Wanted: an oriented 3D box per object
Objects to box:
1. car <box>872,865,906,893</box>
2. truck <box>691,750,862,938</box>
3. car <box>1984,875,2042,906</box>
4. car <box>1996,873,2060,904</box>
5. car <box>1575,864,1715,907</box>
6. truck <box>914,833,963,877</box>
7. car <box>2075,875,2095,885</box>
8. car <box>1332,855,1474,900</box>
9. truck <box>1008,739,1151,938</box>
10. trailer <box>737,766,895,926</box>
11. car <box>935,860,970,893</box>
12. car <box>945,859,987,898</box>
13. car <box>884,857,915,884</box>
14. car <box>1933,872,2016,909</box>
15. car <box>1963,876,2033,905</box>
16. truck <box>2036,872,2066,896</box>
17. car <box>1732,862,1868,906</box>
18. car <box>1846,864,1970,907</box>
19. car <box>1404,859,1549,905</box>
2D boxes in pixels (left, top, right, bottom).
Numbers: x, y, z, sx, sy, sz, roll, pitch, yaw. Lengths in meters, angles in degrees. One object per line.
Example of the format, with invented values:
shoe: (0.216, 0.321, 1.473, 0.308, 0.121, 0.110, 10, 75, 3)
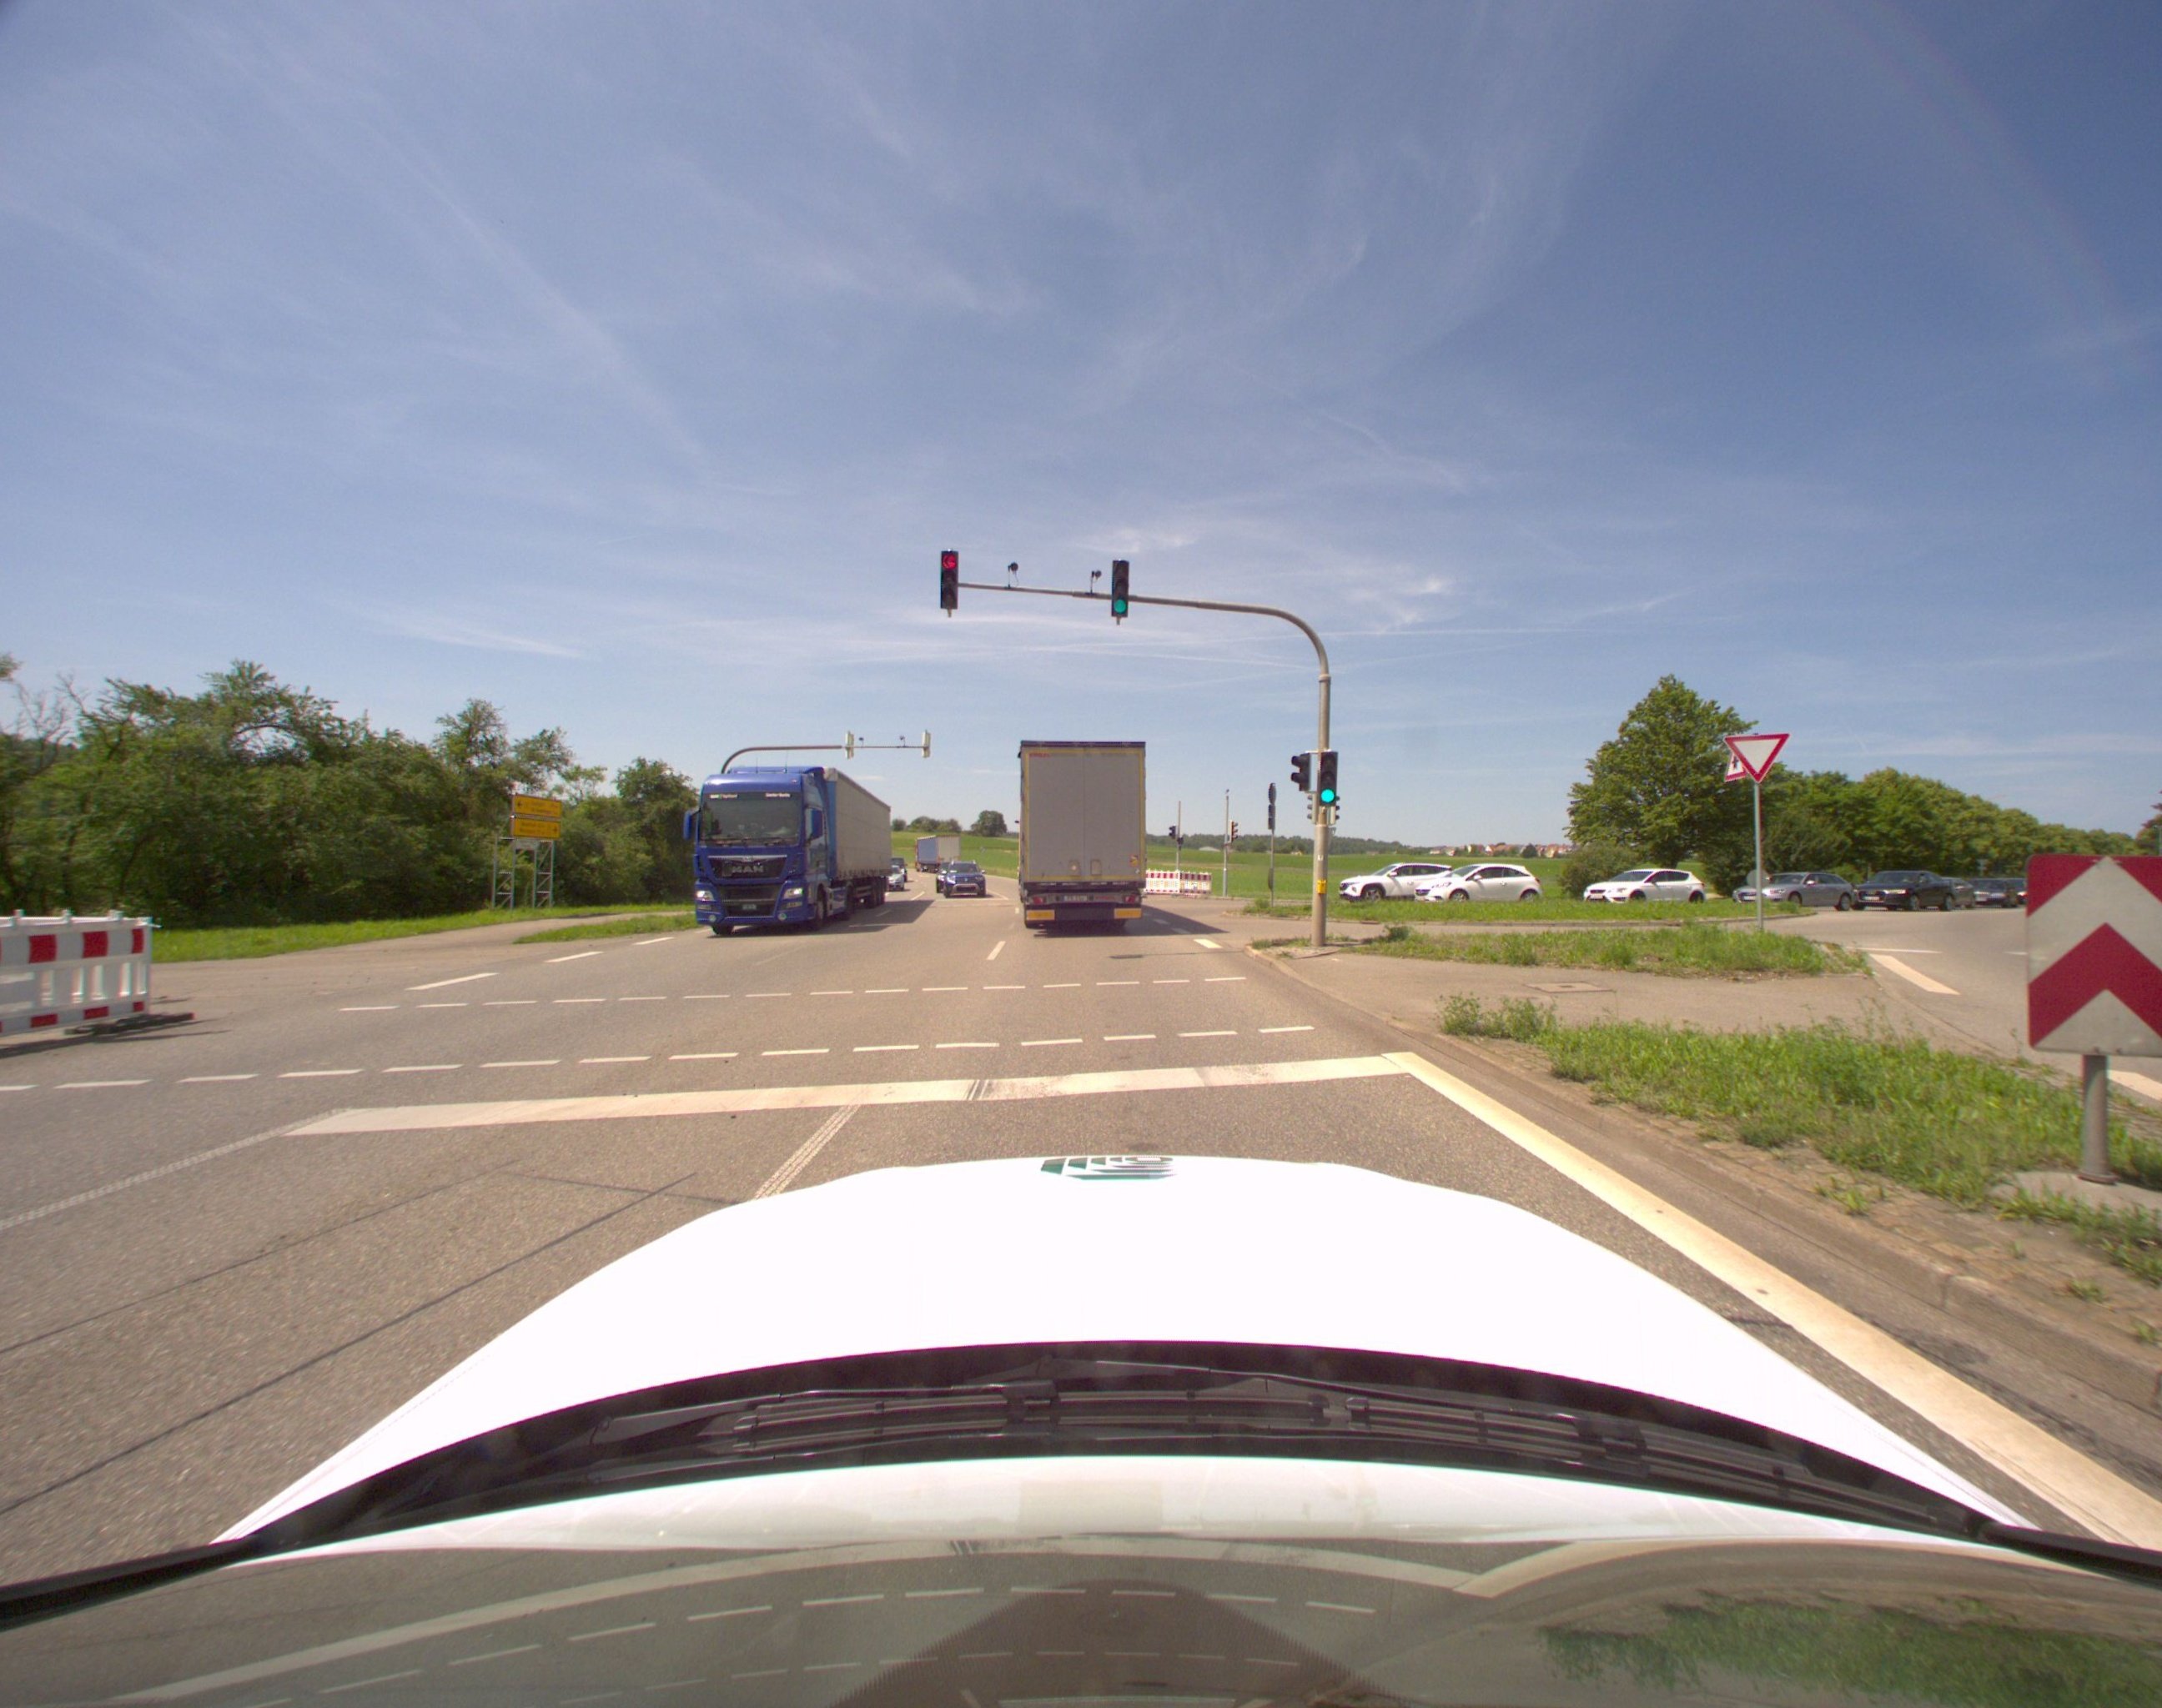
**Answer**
car: (-10.994, 1.397, 46.615, 1.773, 1.495, 3.981, -1, -1, -13)
truck: (-7.433, -0.208, 20.824, 2.564, 4.030, 6.544, -1, 0, -7)
car: (48.042, 1.852, 41.959, 4.253, 1.510, 1.780, 2, -3, -39)
car: (53.069, 1.919, 45.626, 4.310, 1.698, 1.978, 2, -3, -36)
car: (19.679, 1.076, 28.441, 4.100, 1.419, 1.791, 0, -2, -16)
truck: (-16.404, 0.219, 92.430, 2.970, 4.584, 16.210, 0, -1, -19)
car: (166.733, 4.353, 135.243, 4.019, 1.649, 1.977, 2, -3, -39)
car: (12.154, 0.909, 30.961, 4.613, 1.608, 1.997, 1, -2, -2)
truck: (-0.342, -0.278, 21.154, 2.803, 3.946, 9.576, -1, -1, -4)
trailer: (-8.237, -0.165, 27.357, 2.565, 4.030, 13.557, -1, 0, -8)
car: (-6.838, 1.168, 43.644, 1.770, 1.658, 3.988, -1, -1, -8)
car: (-5.308, 1.105, 37.336, 1.771, 1.658, 3.987, -1, -1, -9)
car: (-14.200, 1.291, 63.520, 1.999, 2.006, 5.133, 0, -1, -17)
car: (38.608, 1.565, 35.152, 4.580, 1.510, 1.781, 2, -3, -35)
car: (43.559, 1.721, 38.648, 4.581, 1.273, 1.781, 2, -3, -36)
truck: (107.561, 3.310, 90.334, 4.019, 2.598, 1.977, 2, -3, -39)
car: (26.403, 1.132, 29.908, 4.562, 1.510, 1.788, 2, -3, -20)
car: (32.199, 1.237, 31.705, 4.565, 1.510, 1.787, 2, -3, -23)
car: (13.000, 0.921, 26.898, 3.954, 1.419, 1.824, 0, -2, -6)
